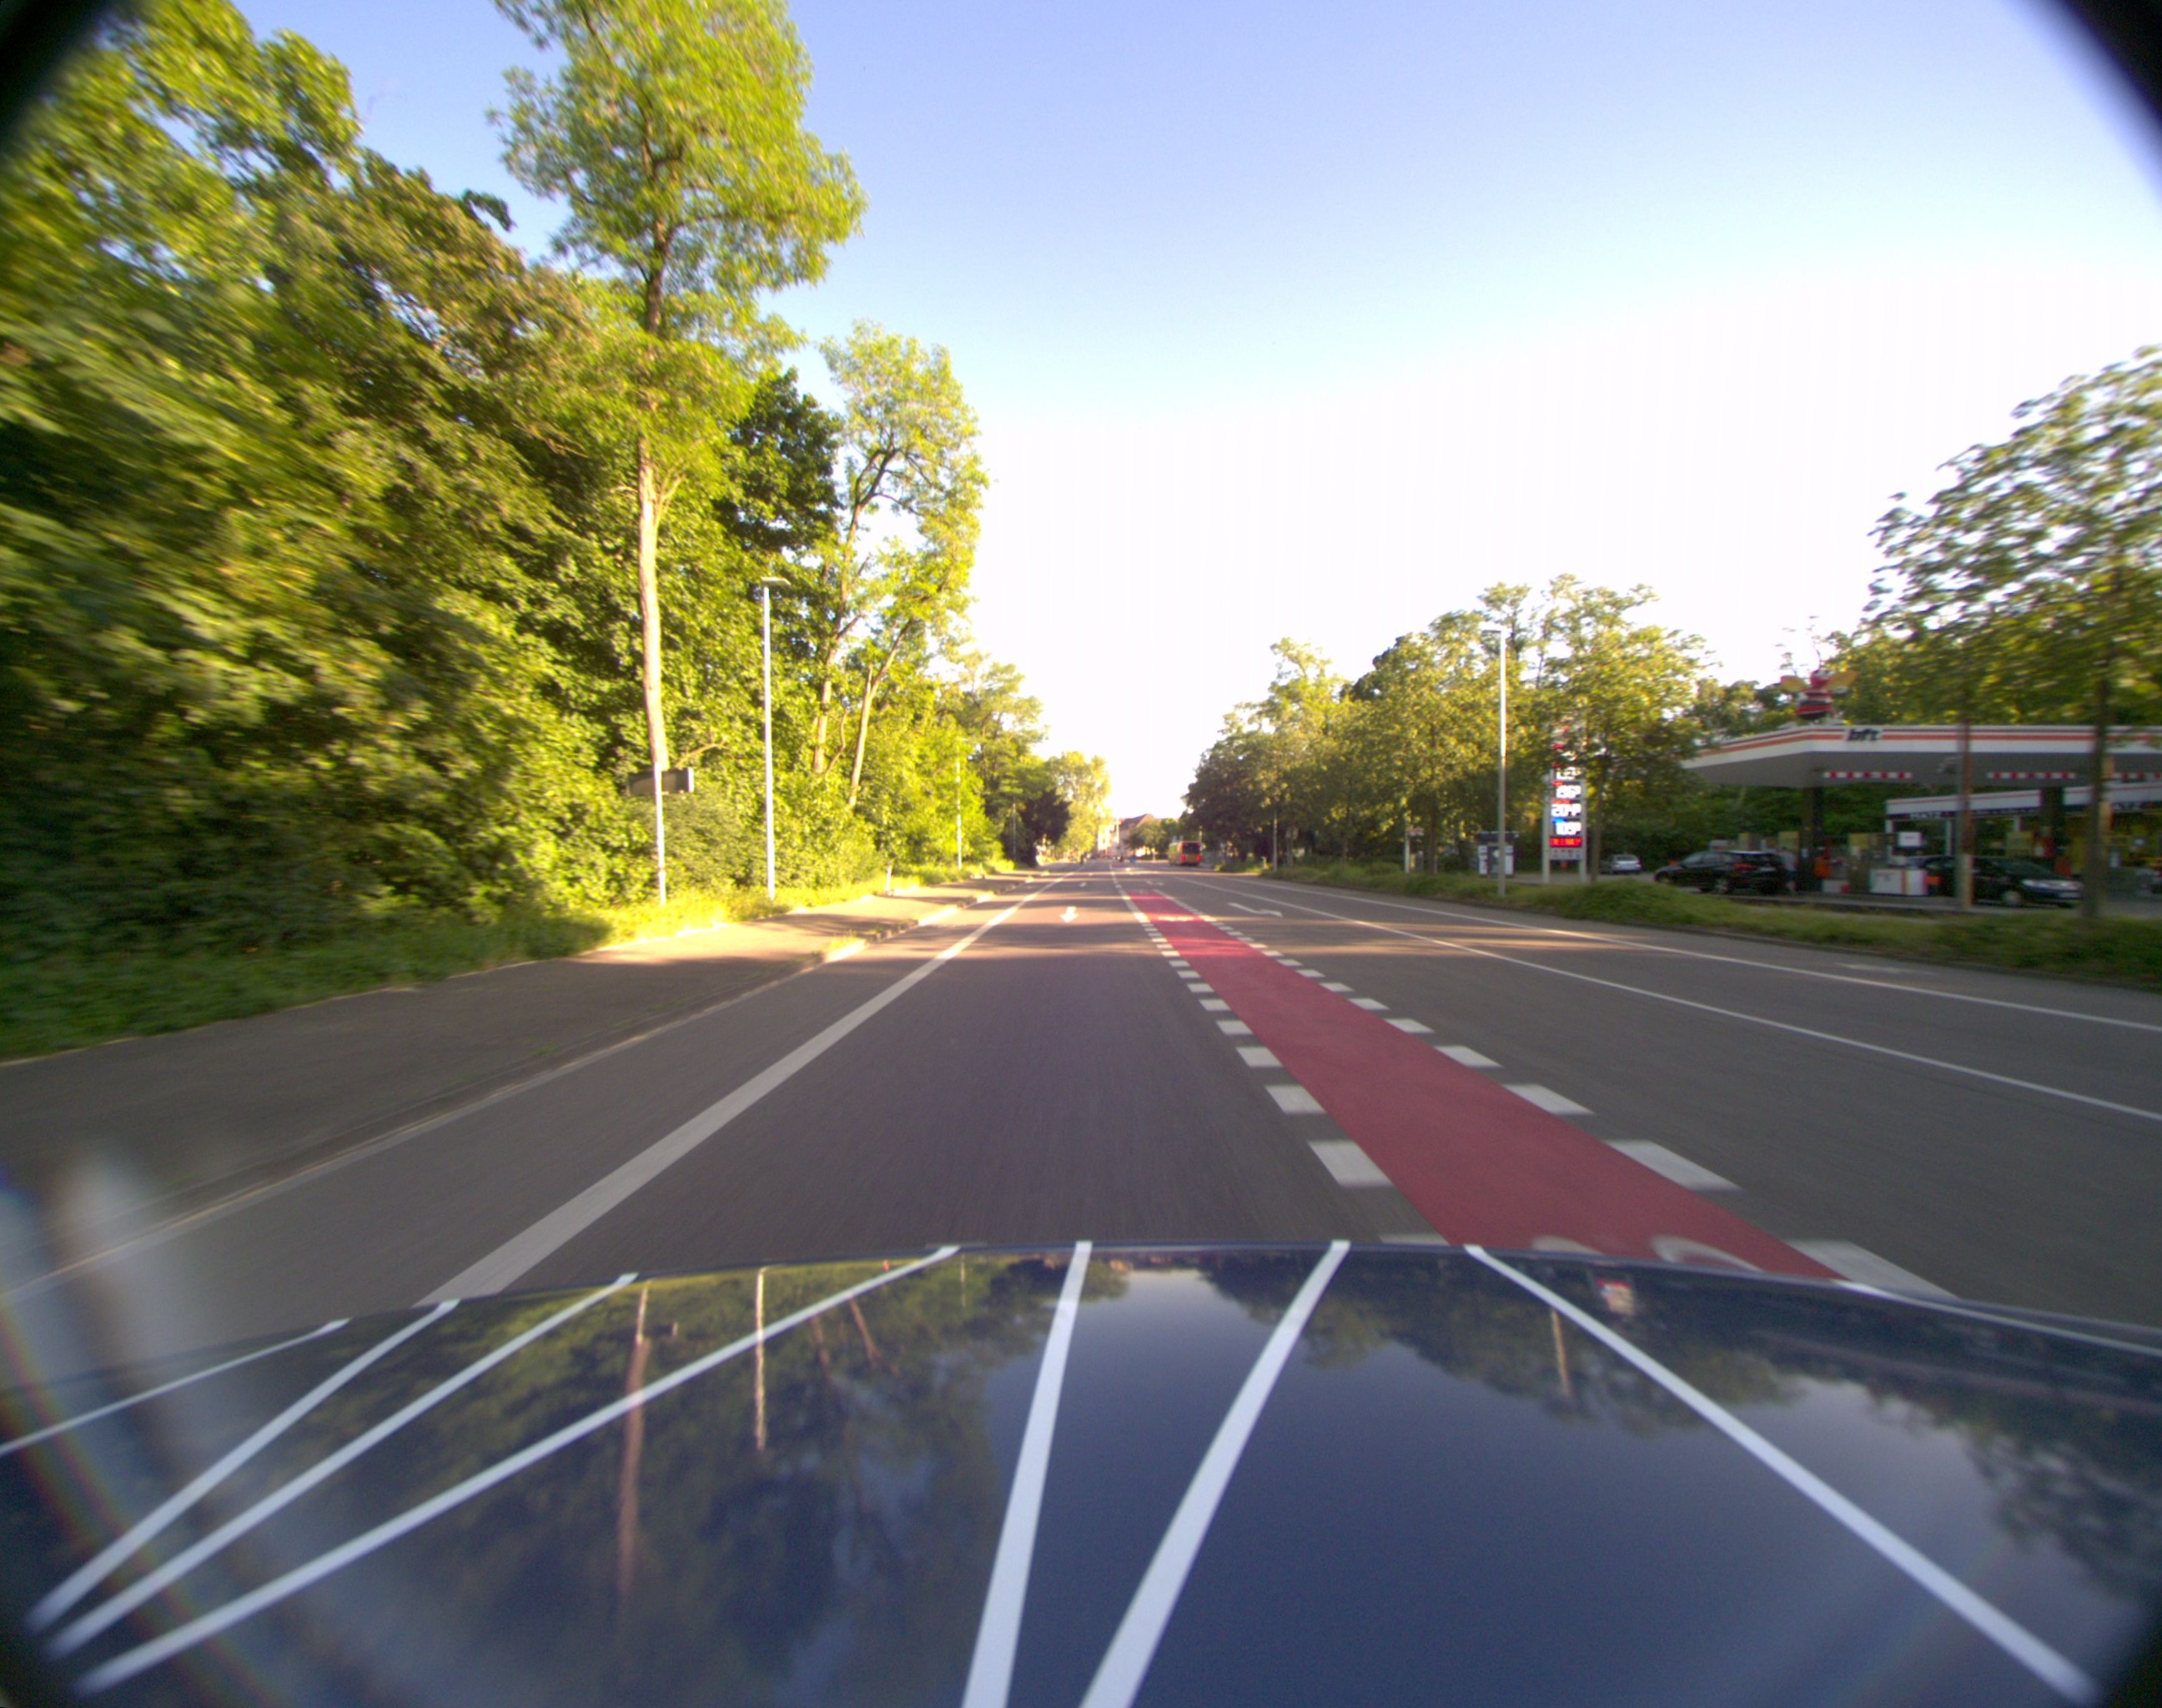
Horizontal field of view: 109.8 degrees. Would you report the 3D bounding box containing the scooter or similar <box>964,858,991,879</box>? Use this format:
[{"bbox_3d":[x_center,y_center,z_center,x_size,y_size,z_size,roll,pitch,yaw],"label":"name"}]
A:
[{"bbox_3d":[-6.146,0.849,45.246,1.544,1.243,0.533,0,1,-42],"label":"scooter or similar"}]

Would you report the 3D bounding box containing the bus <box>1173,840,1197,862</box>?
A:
[{"bbox_3d":[15.436,-0.429,113.223,2.847,3.178,8.600,0,0,3],"label":"bus"}]

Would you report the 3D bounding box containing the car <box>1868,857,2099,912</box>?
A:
[{"bbox_3d":[27.658,0.864,23.575,1.715,1.489,4.577,0,0,0],"label":"car"}]

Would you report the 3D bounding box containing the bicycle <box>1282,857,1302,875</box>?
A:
[{"bbox_3d":[14.638,0.807,52.777,0.656,1.243,2.158,0,0,-4],"label":"bicycle"}]

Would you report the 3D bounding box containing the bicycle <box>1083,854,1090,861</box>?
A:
[{"bbox_3d":[0.819,0.530,118.433,0.694,1.089,2.138,0,0,12],"label":"bicycle"}]

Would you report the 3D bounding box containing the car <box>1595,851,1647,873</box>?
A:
[{"bbox_3d":[38.766,0.542,54.609,1.995,1.527,4.027,0,0,19],"label":"car"}]

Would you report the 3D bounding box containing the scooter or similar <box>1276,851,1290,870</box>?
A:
[{"bbox_3d":[18.179,0.604,68.470,0.829,1.707,1.741,0,0,2],"label":"scooter or similar"}]

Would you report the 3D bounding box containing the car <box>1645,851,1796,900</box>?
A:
[{"bbox_3d":[23.579,0.720,28.272,1.715,1.681,4.452,0,0,-3],"label":"car"}]

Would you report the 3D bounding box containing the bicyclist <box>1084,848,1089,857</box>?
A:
[{"bbox_3d":[0.825,-0.211,118.397,0.694,1.482,0.801,0,1,12],"label":"bicyclist"}]

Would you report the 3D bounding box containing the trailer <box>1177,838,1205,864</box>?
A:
[{"bbox_3d":[14.986,-0.443,104.240,2.861,3.336,9.363,-2,1,3],"label":"trailer"}]

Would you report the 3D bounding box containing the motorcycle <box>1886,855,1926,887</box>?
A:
[{"bbox_3d":[38.485,0.772,35.459,1.131,1.443,2.511,1,1,45],"label":"motorcycle"}]

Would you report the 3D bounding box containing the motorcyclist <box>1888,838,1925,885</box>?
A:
[{"bbox_3d":[38.403,0.331,35.363,1.018,2.169,1.120,-1,1,-45],"label":"motorcyclist"}]

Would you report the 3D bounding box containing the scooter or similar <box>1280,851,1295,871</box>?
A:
[{"bbox_3d":[18.084,0.624,66.528,0.829,1.707,1.741,0,0,2],"label":"scooter or similar"}]

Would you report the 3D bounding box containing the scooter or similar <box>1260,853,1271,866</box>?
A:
[{"bbox_3d":[20.062,0.591,82.665,0.829,1.303,1.571,0,0,2],"label":"scooter or similar"}]

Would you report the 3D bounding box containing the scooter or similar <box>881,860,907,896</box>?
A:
[{"bbox_3d":[-6.737,0.836,27.398,0.534,1.243,1.541,0,1,1],"label":"scooter or similar"}]

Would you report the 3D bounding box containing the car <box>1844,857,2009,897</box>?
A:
[{"bbox_3d":[31.843,0.817,28.825,1.715,1.368,4.059,0,0,0],"label":"car"}]
